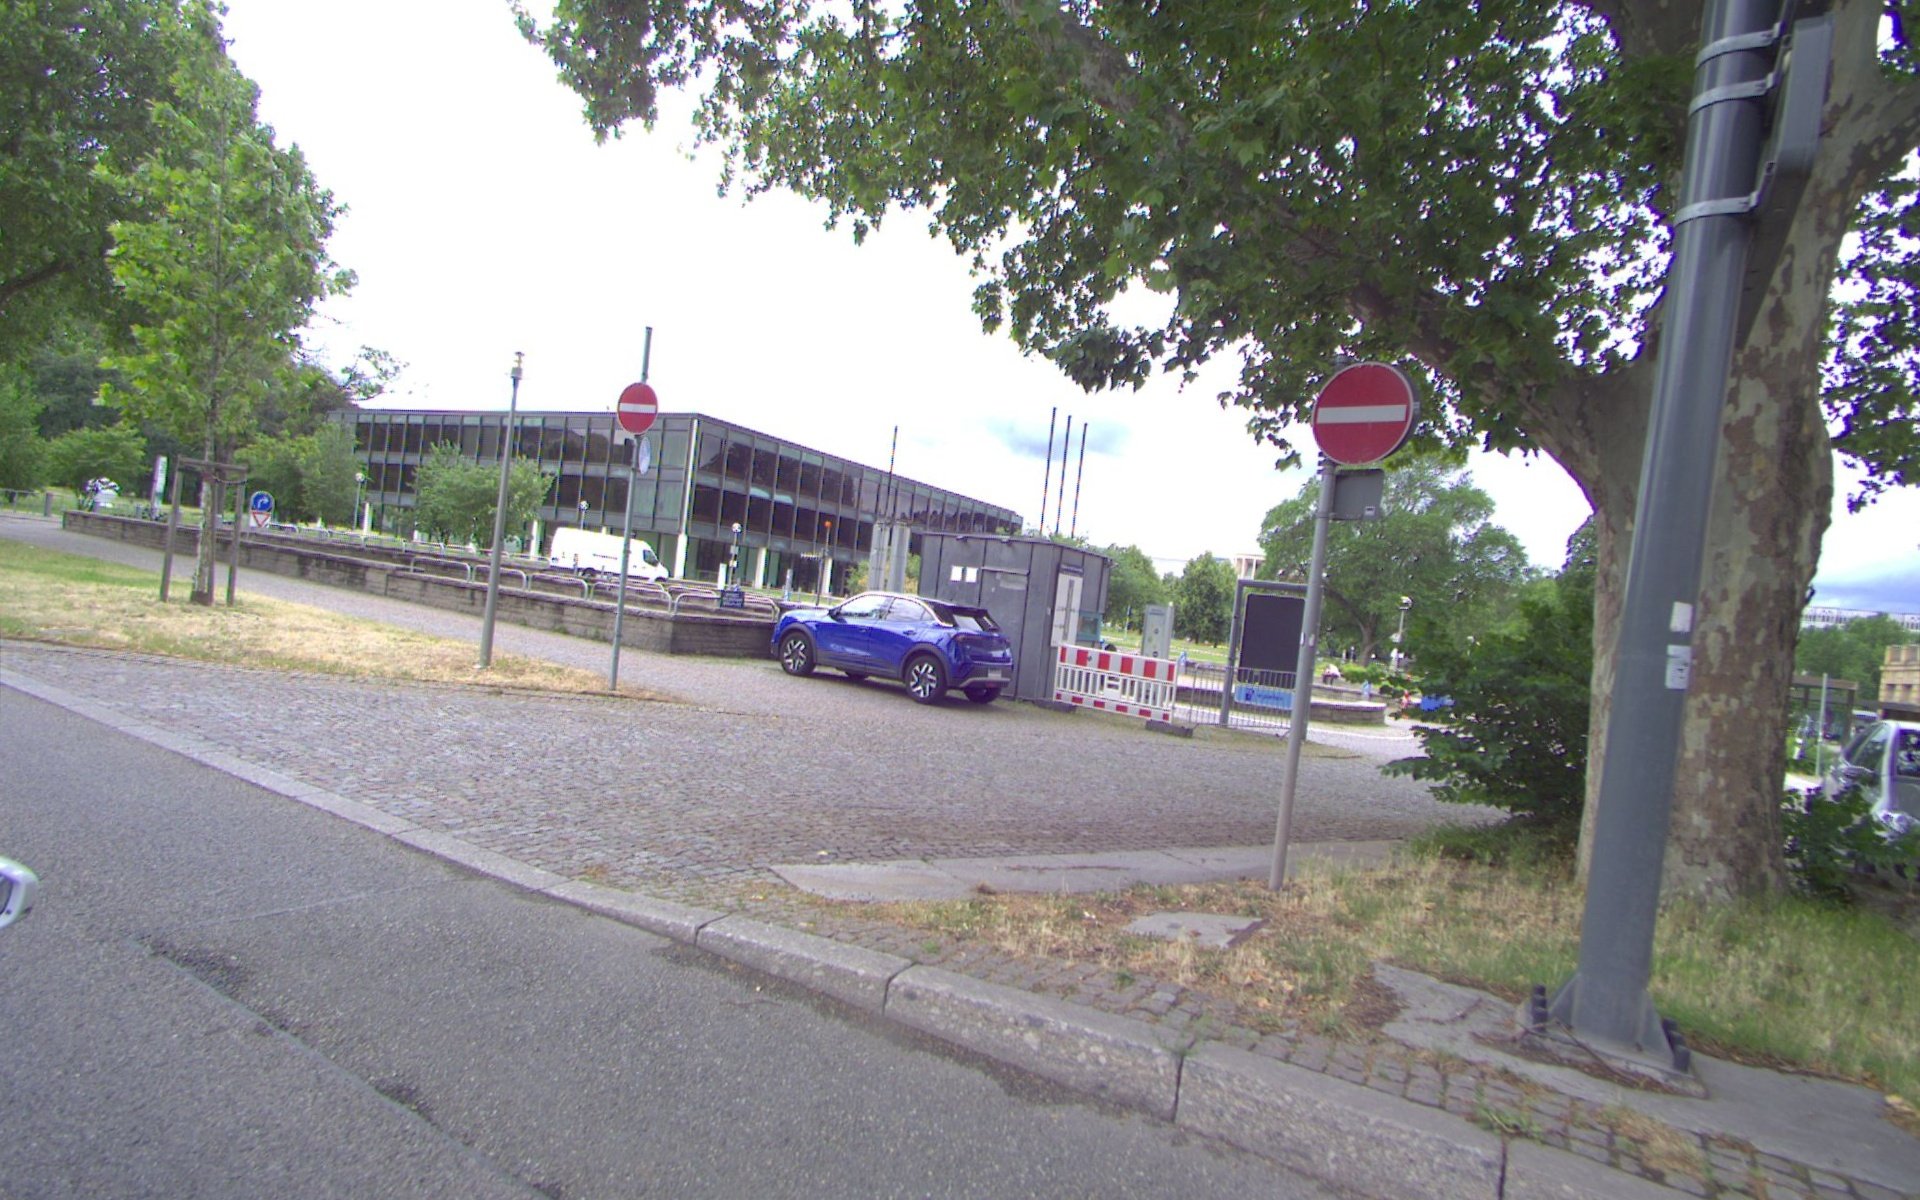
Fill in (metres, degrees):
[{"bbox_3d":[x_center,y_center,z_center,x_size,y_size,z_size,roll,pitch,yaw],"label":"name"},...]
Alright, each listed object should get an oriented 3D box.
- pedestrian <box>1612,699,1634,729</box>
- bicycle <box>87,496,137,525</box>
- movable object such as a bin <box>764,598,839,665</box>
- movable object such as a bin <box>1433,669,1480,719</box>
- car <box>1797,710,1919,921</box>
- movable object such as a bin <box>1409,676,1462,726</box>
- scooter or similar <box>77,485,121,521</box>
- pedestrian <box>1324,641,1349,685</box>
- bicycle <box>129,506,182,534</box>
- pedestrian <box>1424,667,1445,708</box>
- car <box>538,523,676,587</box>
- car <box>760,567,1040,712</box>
[{"bbox_3d":[44.970,7.730,68.242,0.929,1.826,0.546,7,-1,4],"label":"pedestrian"},{"bbox_3d":[-38.532,-4.063,45.711,2.297,1.075,0.956,6,-2,31],"label":"bicycle"},{"bbox_3d":[-2.913,0.590,18.564,0.757,1.078,1.009,10,2,29],"label":"movable object such as a bin"},{"bbox_3d":[16.946,3.210,34.338,1.134,1.515,1.410,7,0,33],"label":"movable object such as a bin"},{"bbox_3d":[9.155,1.941,9.128,1.651,1.587,3.842,7,-1,31],"label":"car"},{"bbox_3d":[14.406,3.044,30.458,1.134,1.320,1.410,7,0,33],"label":"movable object such as a bin"},{"bbox_3d":[-34.227,-3.853,39.981,2.190,1.259,0.637,6,-2,34],"label":"scooter or similar"},{"bbox_3d":[18.543,3.099,49.600,0.799,2.036,0.625,8,-2,-39],"label":"pedestrian"},{"bbox_3d":[-37.517,-3.741,46.923,2.740,0.986,0.956,6,-2,31],"label":"bicycle"},{"bbox_3d":[21.867,4.037,46.368,0.537,1.826,0.500,7,-1,4],"label":"pedestrian"},{"bbox_3d":[-17.304,-2.179,49.723,2.362,2.288,6.114,7,-1,33],"label":"car"},{"bbox_3d":[-0.996,0.582,15.745,3.961,1.571,1.762,9,1,34],"label":"car"}]
